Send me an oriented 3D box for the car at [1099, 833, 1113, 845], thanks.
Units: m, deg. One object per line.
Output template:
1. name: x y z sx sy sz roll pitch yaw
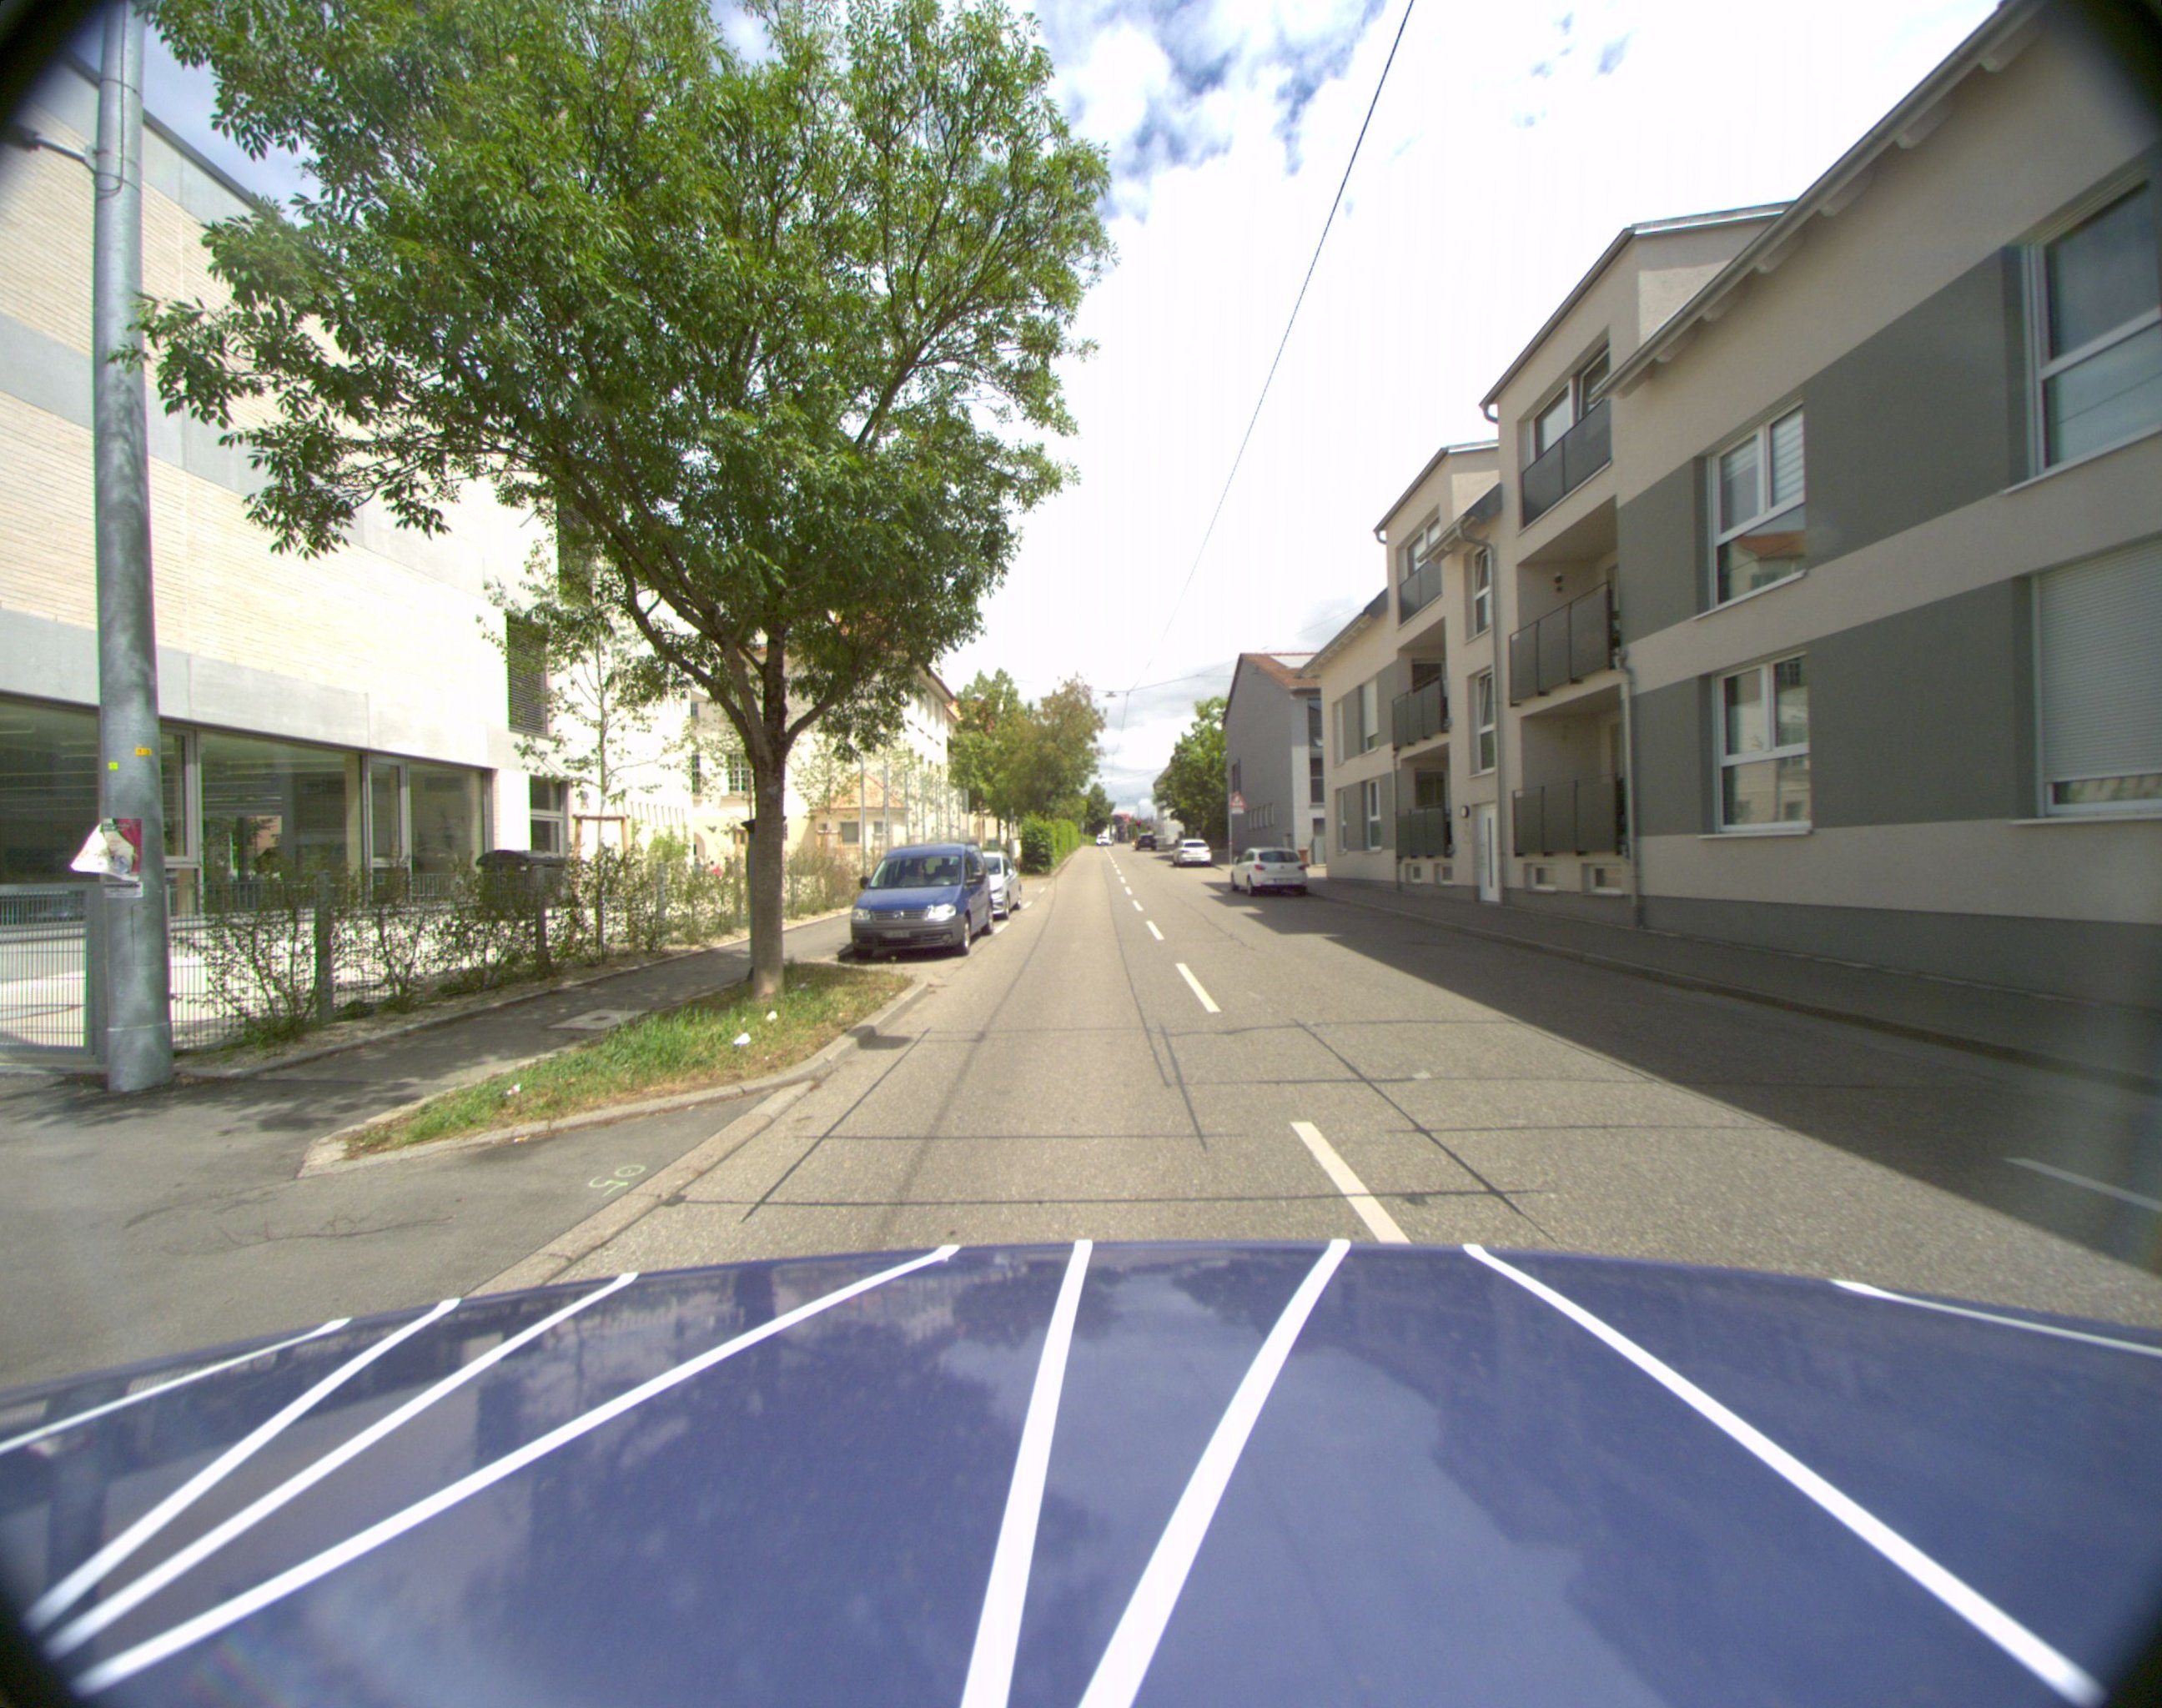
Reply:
1. car: 3.873 -2.340 116.579 1.893 1.718 4.294 -2 1 4

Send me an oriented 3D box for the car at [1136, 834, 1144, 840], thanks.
1. car: 15.481 -4.353 198.427 1.794 1.477 4.002 -3 0 7

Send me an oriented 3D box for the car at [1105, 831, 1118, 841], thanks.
1. car: 5.047 -2.876 124.961 1.794 1.477 4.002 -3 0 7

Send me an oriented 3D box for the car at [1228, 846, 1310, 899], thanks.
1. car: 5.695 0.513 23.479 1.651 1.411 3.697 1 2 1

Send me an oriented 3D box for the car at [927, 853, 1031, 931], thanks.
1. car: -2.349 0.817 18.540 1.790 1.501 4.363 -2 2 1

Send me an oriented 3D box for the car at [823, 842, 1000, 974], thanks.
1. car: -2.624 0.725 12.985 1.849 1.758 4.514 -2 2 1

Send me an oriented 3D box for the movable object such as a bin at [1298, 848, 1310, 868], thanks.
1. movable object such as a bin: 10.675 0.190 36.310 0.455 0.924 0.399 -1 2 0

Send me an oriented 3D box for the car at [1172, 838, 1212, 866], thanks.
1. car: 5.964 -0.128 41.143 1.701 1.382 3.866 -1 1 2

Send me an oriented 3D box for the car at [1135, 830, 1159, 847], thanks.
1. car: 6.422 -1.526 74.521 1.800 1.601 4.644 -2 1 -1
